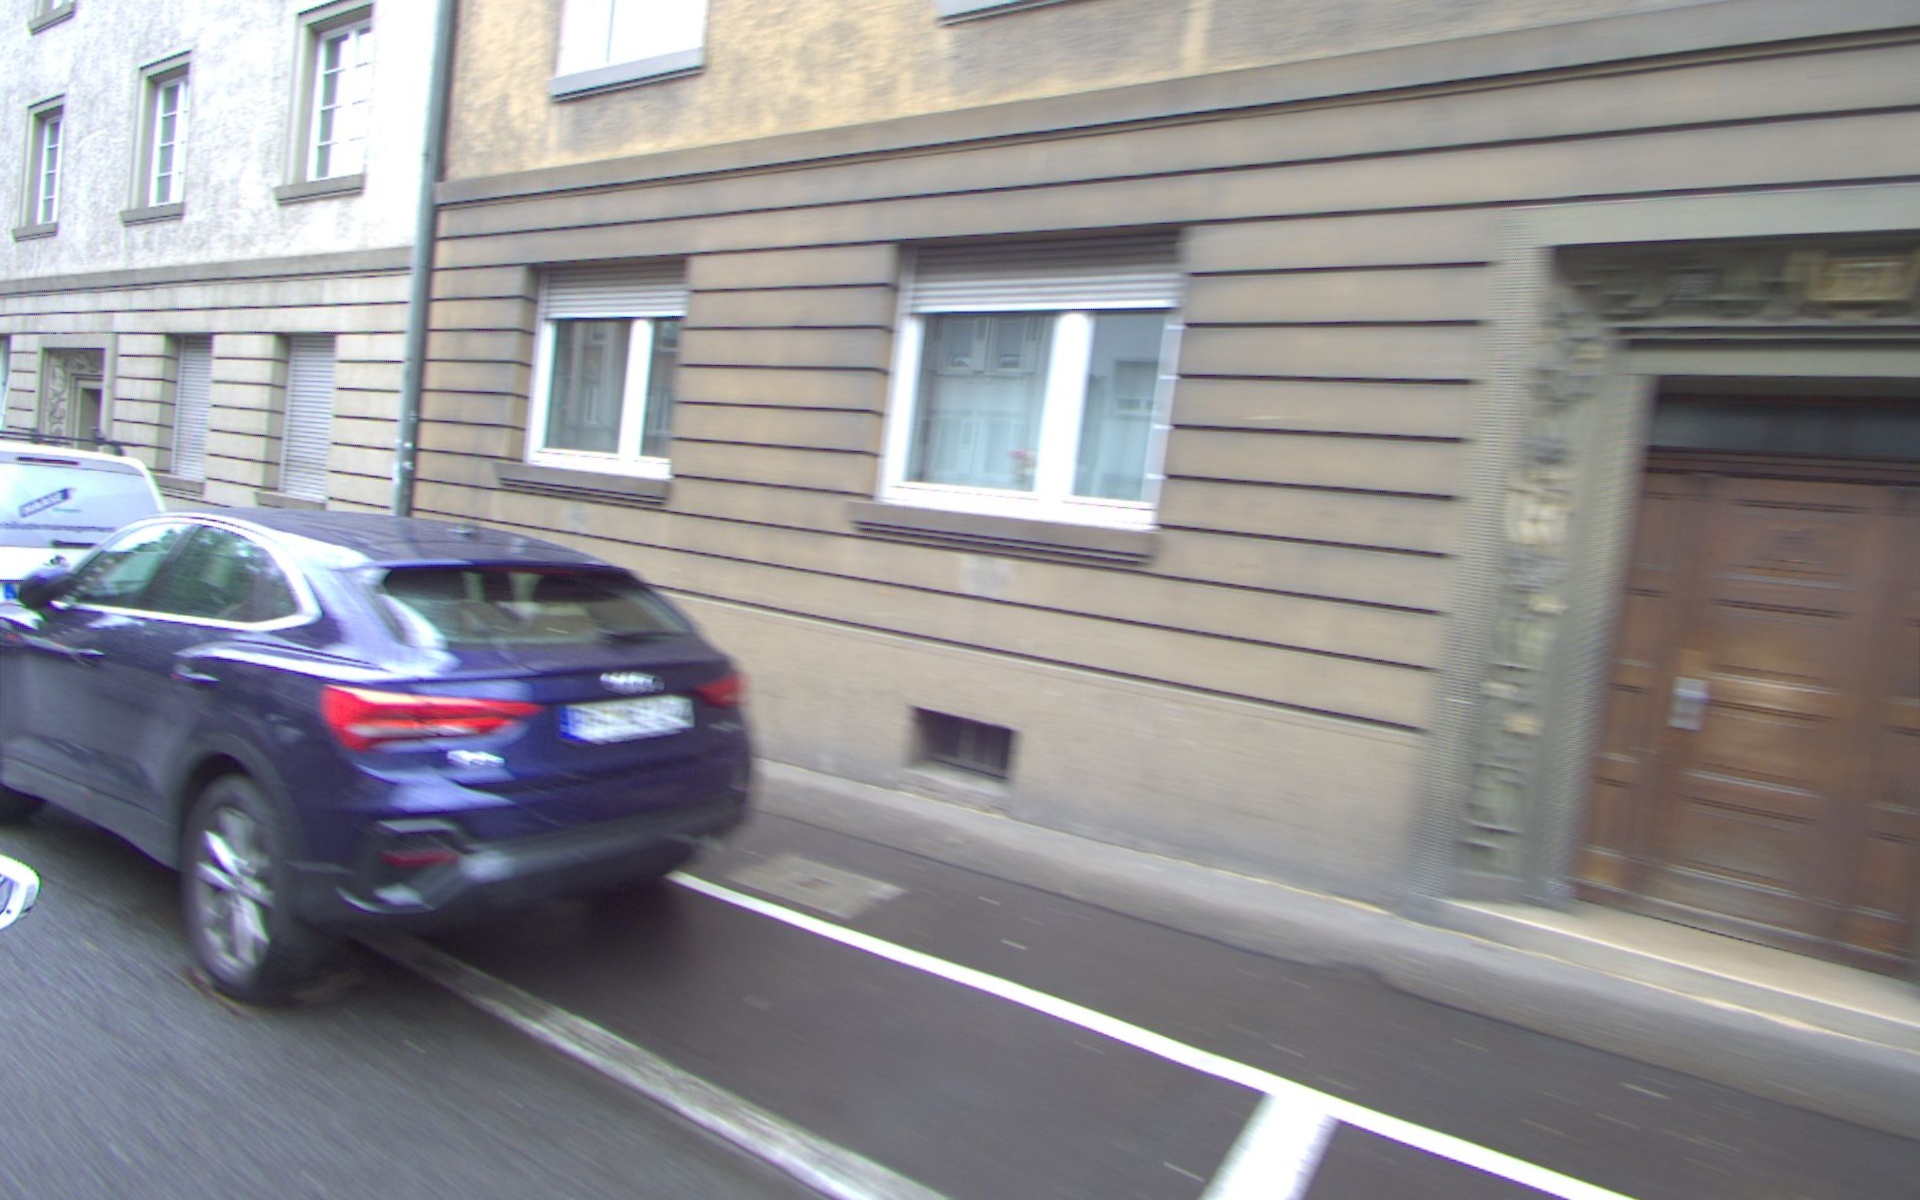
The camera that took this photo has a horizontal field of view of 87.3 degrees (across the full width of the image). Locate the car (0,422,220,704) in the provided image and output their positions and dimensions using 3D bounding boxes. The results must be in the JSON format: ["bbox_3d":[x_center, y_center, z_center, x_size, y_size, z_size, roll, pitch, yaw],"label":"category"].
[{"bbox_3d":[-7.805,-0.427,7.874,4.011,1.842,1.791,7,3,31],"label":"car"}]

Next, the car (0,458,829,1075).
[{"bbox_3d":[-2.824,0.302,4.517,4.155,1.569,1.790,7,3,32],"label":"car"}]
